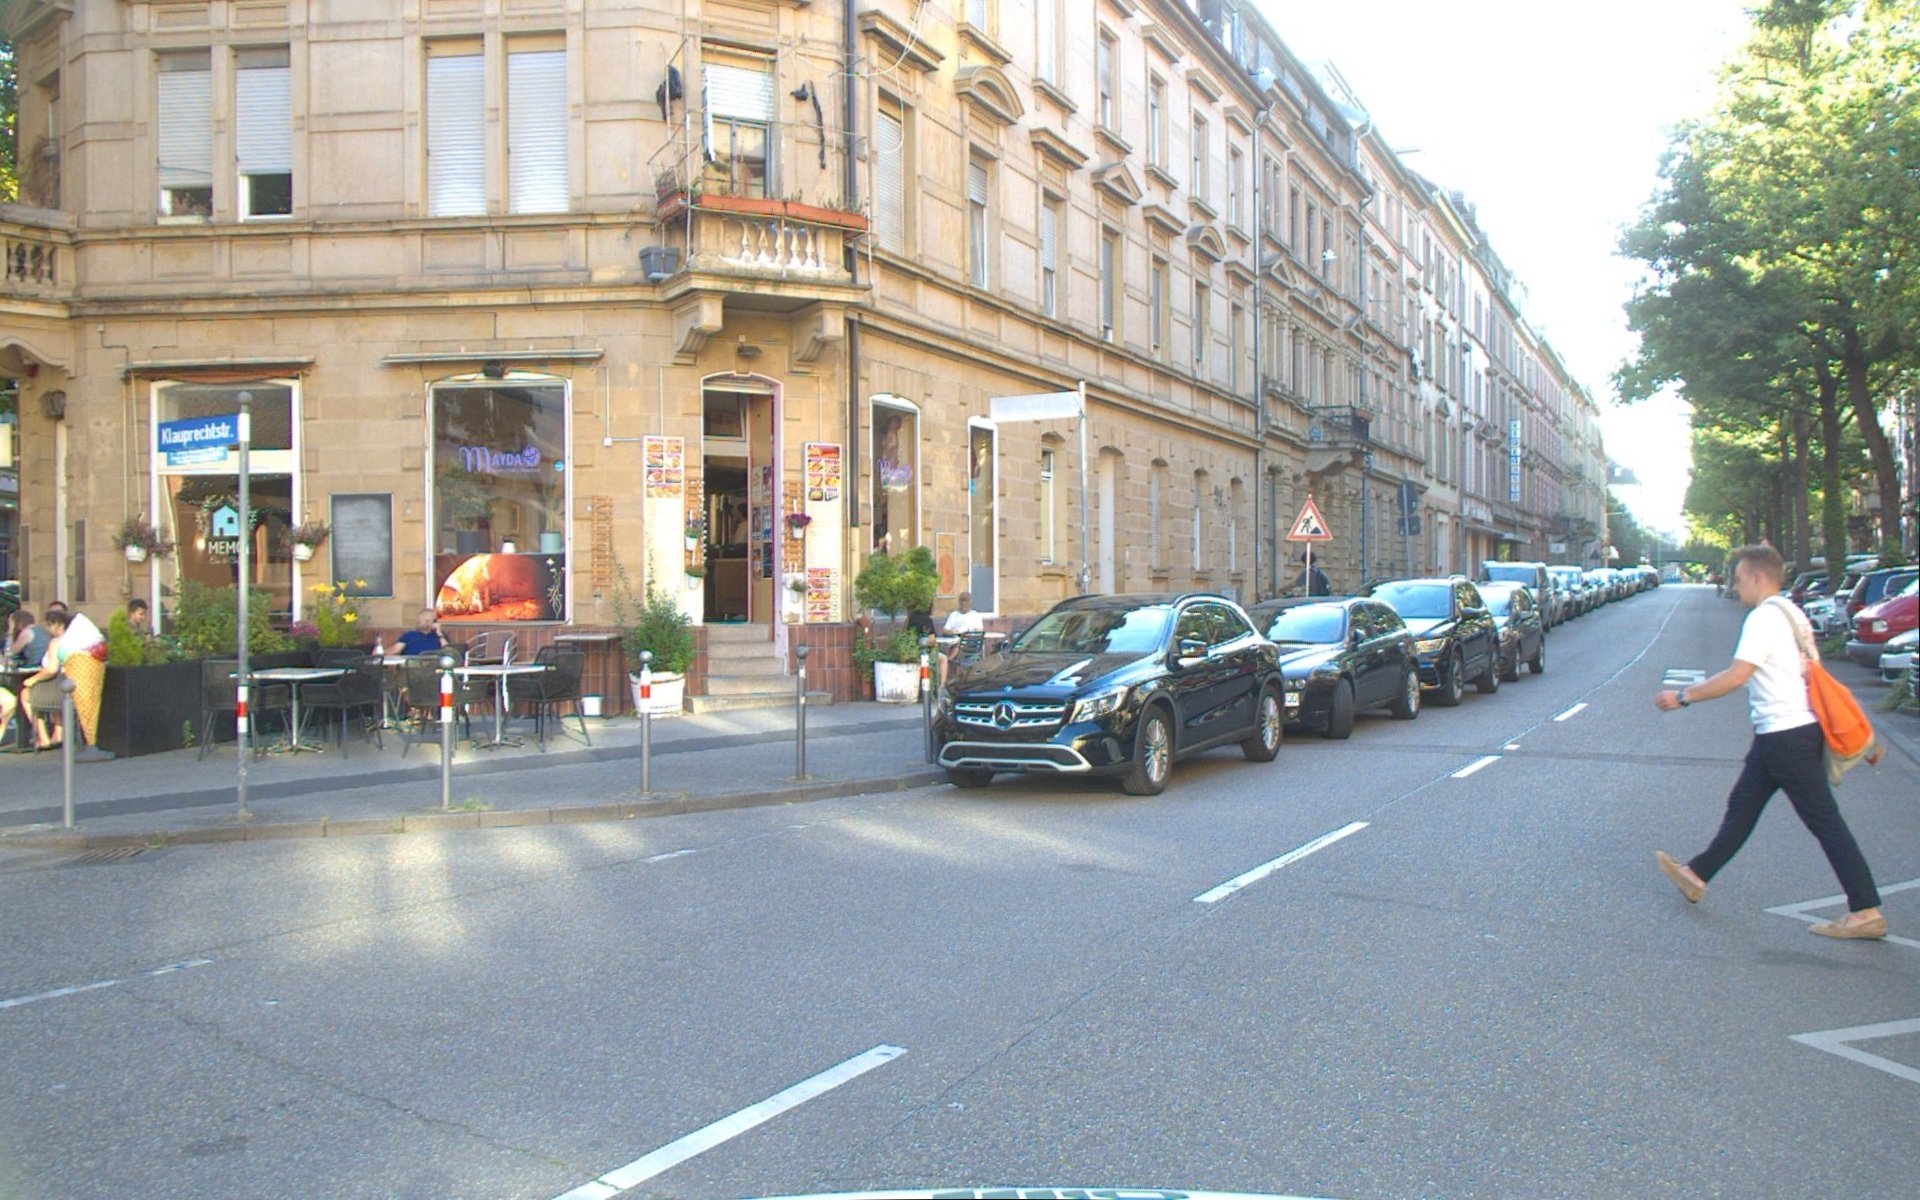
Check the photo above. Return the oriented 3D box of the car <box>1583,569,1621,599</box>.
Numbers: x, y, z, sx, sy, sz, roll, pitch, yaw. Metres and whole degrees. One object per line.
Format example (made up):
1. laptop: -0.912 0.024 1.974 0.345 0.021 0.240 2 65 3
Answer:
1. car: 34.126 -0.845 87.845 1.723 1.498 4.058 -1 1 23

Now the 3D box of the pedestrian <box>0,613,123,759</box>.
1. pedestrian: -8.422 0.790 15.472 0.727 1.312 0.743 -1 0 15

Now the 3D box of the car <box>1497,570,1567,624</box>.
1. car: 18.307 -0.135 52.839 1.718 1.636 4.382 1 2 24

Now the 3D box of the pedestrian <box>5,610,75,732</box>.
1. pedestrian: -9.896 0.754 17.796 0.471 1.270 0.434 -1 1 22

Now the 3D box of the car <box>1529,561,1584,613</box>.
1. car: 22.854 -0.520 63.314 1.723 1.874 4.529 -1 1 23

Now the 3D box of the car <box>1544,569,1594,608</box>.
1. car: 25.016 -0.473 67.844 1.723 1.498 4.058 -1 1 23

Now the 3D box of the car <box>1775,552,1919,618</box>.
1. car: 27.605 -0.461 51.136 4.136 1.807 1.834 -3 0 24

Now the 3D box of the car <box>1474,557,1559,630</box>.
1. car: 15.990 -0.235 47.381 1.795 1.977 5.258 1 2 24

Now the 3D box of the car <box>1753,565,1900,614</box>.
1. car: 29.257 -0.367 55.971 4.133 1.428 1.836 -3 0 20

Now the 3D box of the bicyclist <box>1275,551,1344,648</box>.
1. bicyclist: 6.736 0.003 31.831 0.977 1.821 1.206 -2 -1 28

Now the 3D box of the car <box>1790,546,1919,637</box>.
1. car: 22.362 -0.252 39.462 4.353 1.957 1.850 -4 0 22

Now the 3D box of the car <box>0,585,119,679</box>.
1. car: -18.216 0.594 31.203 3.956 1.713 1.975 -1 0 -36

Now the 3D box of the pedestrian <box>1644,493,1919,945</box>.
1. pedestrian: 3.793 0.511 7.683 1.092 1.932 0.842 -1 0 25

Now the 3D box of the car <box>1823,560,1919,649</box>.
1. car: 19.389 0.034 32.704 3.929 1.656 1.804 -3 -1 23

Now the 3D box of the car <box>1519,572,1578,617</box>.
1. car: 20.942 -0.241 58.806 1.723 1.492 3.999 1 2 23

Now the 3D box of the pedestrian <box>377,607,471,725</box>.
1. pedestrian: -5.813 0.705 17.975 0.710 1.235 0.757 -1 0 6

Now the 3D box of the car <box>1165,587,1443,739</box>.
1. car: 3.996 0.620 18.618 1.725 1.477 4.542 -2 0 30

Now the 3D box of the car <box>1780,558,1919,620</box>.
1. car: 26.391 -0.322 48.628 3.930 1.635 1.733 -3 -1 25

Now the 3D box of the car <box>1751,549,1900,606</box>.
1. car: 33.551 -0.863 64.299 4.956 1.959 1.834 -3 0 25

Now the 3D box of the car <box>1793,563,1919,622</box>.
1. car: 25.605 -0.220 46.299 3.930 1.493 1.733 -3 -1 25

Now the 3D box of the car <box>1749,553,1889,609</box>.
1. car: 31.660 -0.683 61.064 4.132 1.826 1.836 -3 0 5

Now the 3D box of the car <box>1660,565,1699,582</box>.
1. car: 82.148 -3.059 188.907 3.916 1.891 1.746 1 1 33

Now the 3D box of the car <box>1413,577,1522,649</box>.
1. car: 11.768 0.274 38.172 1.724 1.527 4.056 -2 0 27

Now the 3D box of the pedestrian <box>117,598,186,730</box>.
1. pedestrian: -8.688 0.682 17.772 0.470 1.391 0.434 -1 1 16

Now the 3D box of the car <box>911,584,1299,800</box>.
1. car: 1.377 0.650 13.891 1.725 1.514 4.132 -2 0 28

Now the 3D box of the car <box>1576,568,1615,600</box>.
1. car: 32.115 -0.824 83.524 1.723 1.498 4.058 -1 1 23

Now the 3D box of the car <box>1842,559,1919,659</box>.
1. car: 17.443 0.092 28.260 4.106 1.656 1.835 -3 -1 28

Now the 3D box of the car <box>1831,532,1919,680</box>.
1. car: 15.246 0.003 23.737 4.579 2.069 1.879 -3 -1 22

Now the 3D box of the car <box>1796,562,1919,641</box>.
1. car: 21.271 -0.023 37.147 4.257 1.583 1.849 -4 0 24

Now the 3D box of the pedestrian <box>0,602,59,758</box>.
1. pedestrian: -9.189 0.747 15.767 0.738 1.435 0.728 -1 0 13

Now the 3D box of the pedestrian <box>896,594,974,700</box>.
1. pedestrian: -0.307 0.569 20.594 0.710 1.281 0.756 -1 0 23

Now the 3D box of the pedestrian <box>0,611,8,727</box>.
1. pedestrian: -10.818 0.768 18.080 0.471 1.270 0.510 -1 1 22

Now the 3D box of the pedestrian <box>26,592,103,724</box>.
1. pedestrian: -10.058 0.644 18.582 0.555 1.456 0.482 -1 1 14

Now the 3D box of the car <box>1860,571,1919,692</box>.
1. car: 13.972 0.319 21.299 3.973 1.536 1.878 -3 -1 25

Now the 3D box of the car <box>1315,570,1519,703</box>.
1. car: 6.448 0.441 22.994 1.725 1.628 4.544 -2 0 29

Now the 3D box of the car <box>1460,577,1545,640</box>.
1. car: 13.881 0.180 42.223 1.561 1.501 3.696 1 2 26

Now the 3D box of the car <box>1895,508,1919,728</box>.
1. car: 12.450 0.154 16.820 4.920 2.253 1.992 0 0 24

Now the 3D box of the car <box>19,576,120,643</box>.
1. car: -29.459 0.283 54.820 1.773 2.121 3.744 -1 0 -9

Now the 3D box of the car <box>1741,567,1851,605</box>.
1. car: 33.955 -0.569 67.271 3.771 1.316 1.718 -3 0 22

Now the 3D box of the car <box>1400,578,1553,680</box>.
1. car: 8.692 0.438 27.611 1.724 1.527 4.055 -2 0 27

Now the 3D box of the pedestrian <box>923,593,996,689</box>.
1. pedestrian: -0.006 0.525 21.725 0.710 1.235 0.756 -1 0 23
